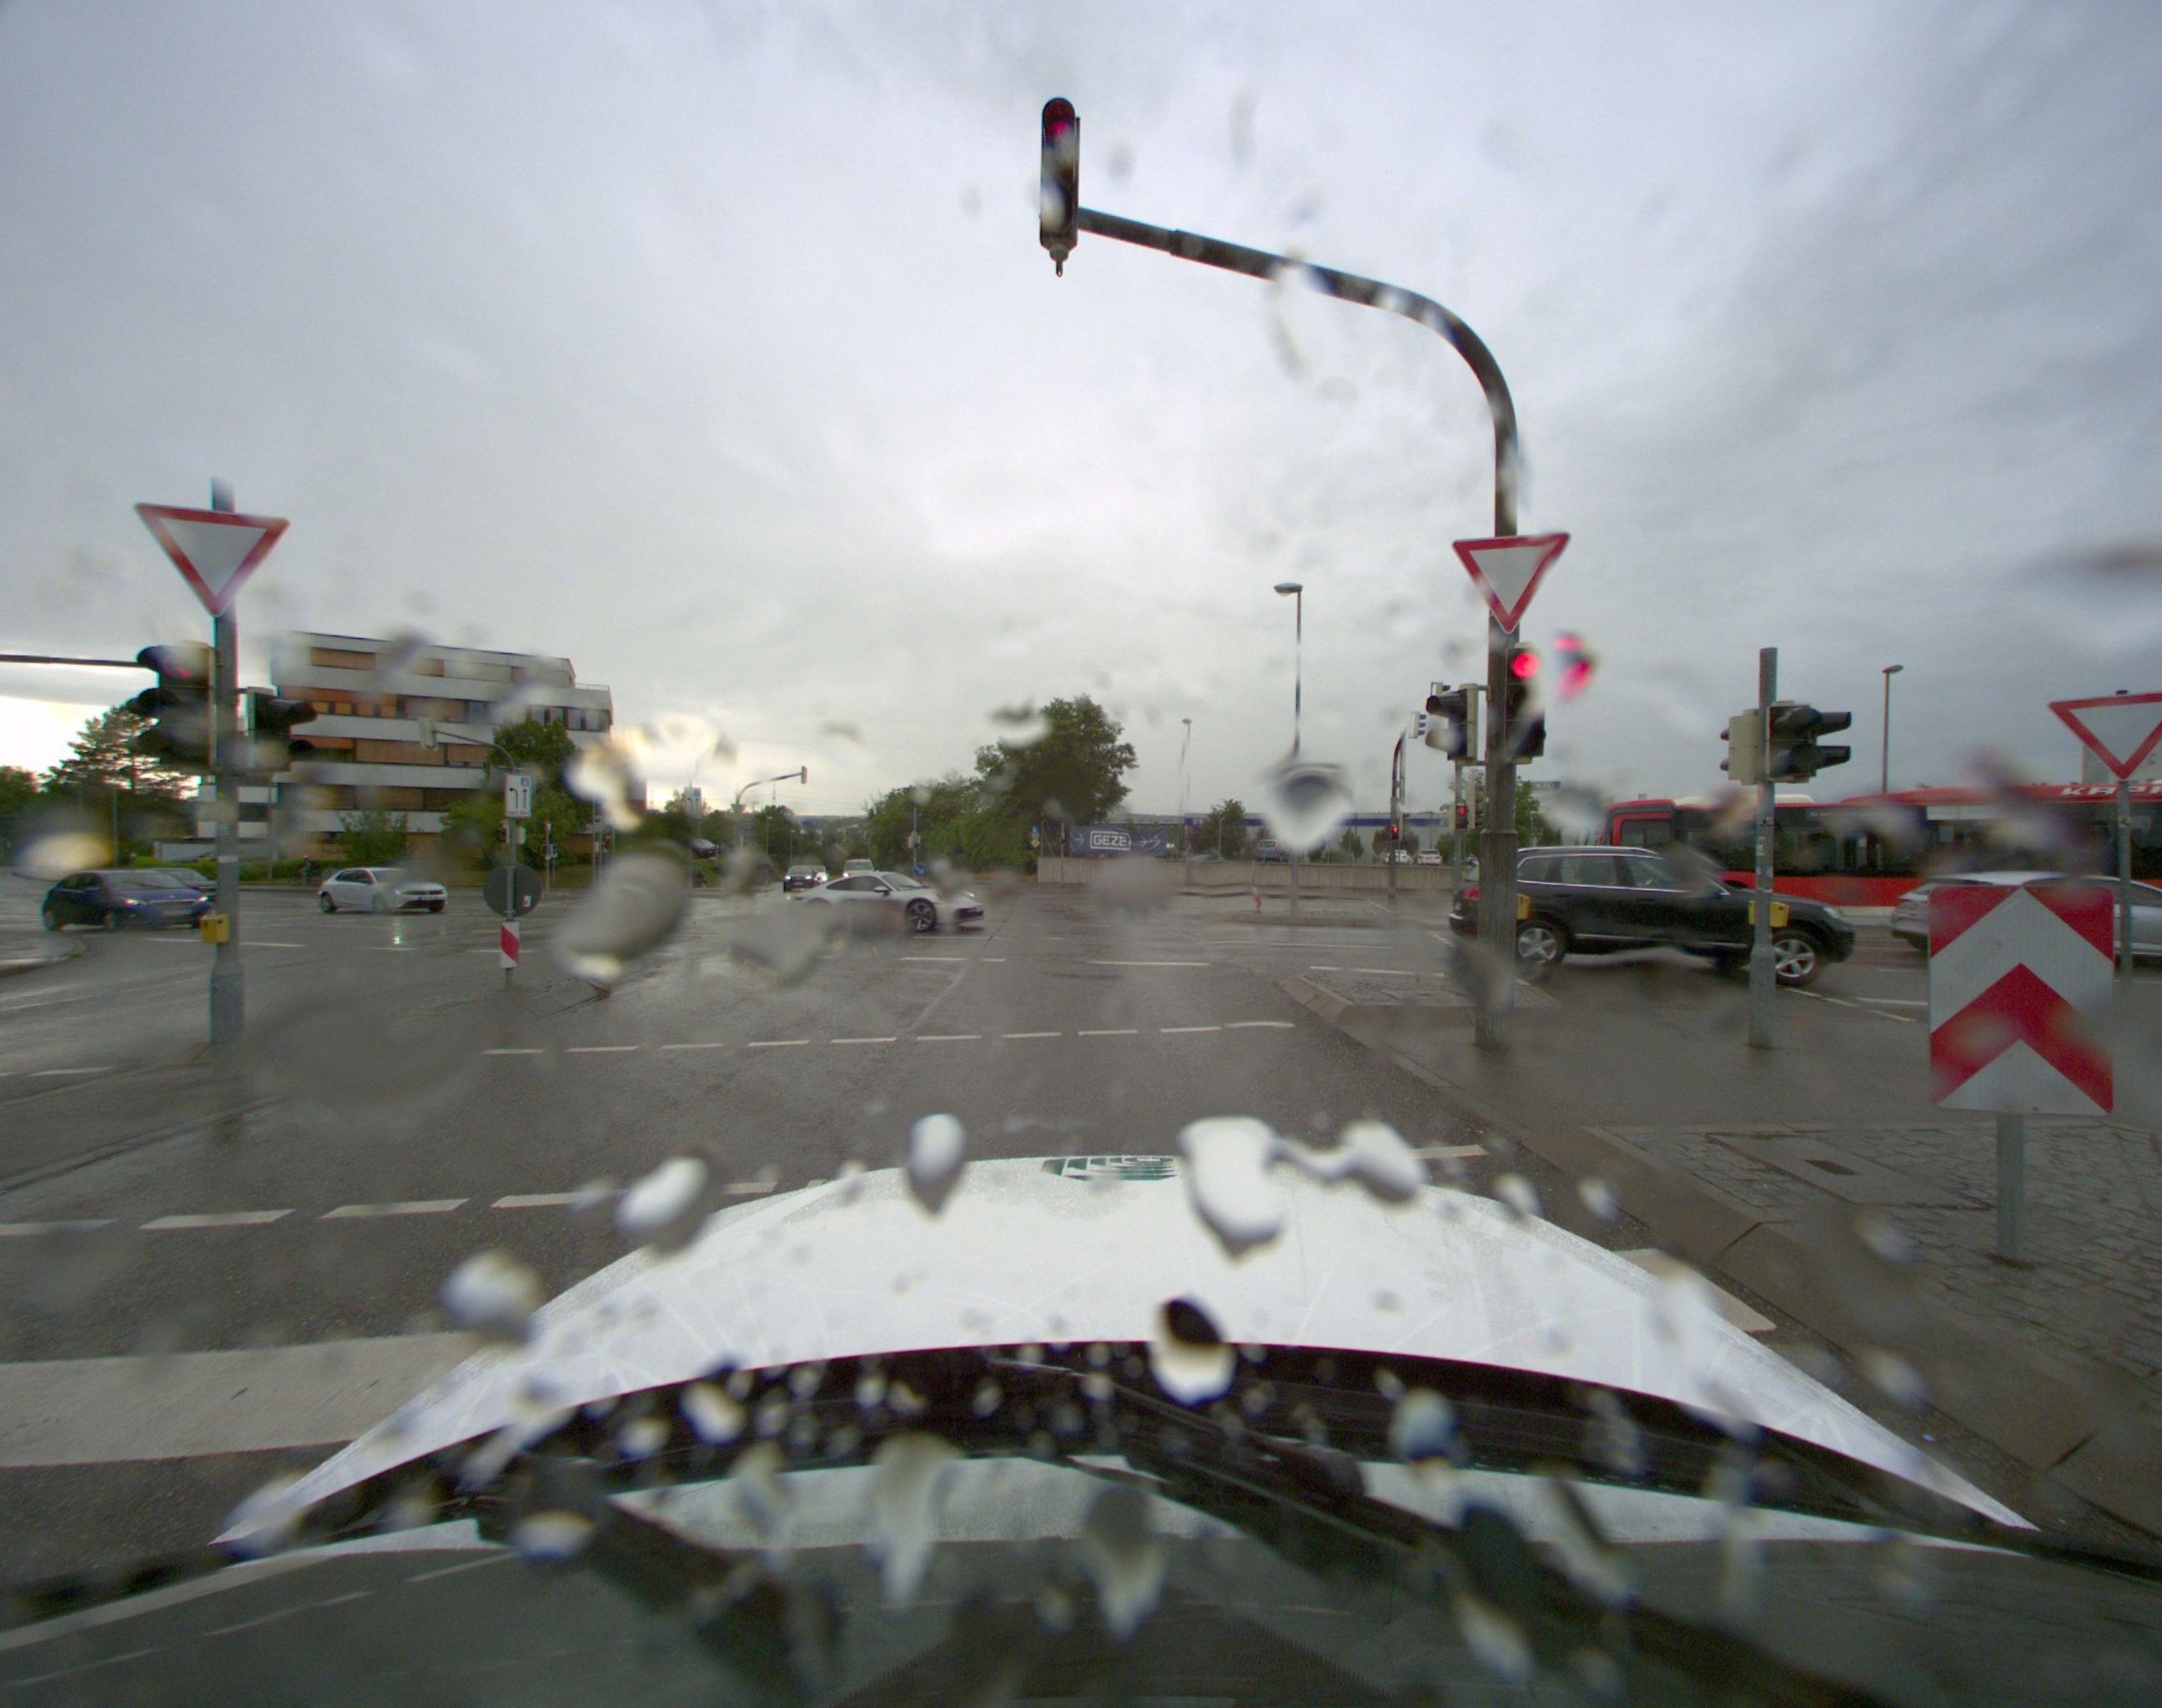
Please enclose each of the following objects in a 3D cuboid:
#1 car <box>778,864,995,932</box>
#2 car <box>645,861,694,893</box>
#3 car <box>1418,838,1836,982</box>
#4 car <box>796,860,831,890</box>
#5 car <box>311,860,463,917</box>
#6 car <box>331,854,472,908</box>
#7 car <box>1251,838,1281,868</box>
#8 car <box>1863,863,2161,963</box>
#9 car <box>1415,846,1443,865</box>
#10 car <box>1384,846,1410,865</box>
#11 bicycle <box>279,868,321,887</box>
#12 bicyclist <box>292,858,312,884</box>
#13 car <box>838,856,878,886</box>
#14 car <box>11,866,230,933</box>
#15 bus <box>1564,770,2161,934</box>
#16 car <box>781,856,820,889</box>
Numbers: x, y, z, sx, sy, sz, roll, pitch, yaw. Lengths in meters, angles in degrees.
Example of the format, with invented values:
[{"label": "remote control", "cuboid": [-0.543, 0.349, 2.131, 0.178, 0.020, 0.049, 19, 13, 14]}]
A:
[{"label": "car", "cuboid": [-4.359, 0.939, 18.493, 4.400, 1.358, 1.864, 0, 0, 14]}, {"label": "car", "cuboid": [-26.436, 1.423, 52.466, 1.997, 1.895, 3.979, 0, 0, -15]}, {"label": "car", "cuboid": [7.397, 0.680, 11.641, 4.561, 1.702, 2.009, 1, 1, 16]}, {"label": "car", "cuboid": [-18.316, 1.421, 55.946, 1.997, 1.895, 3.980, 0, 0, -15]}, {"label": "car", "cuboid": [-22.380, 1.062, 26.296, 3.954, 1.684, 2.010, 0, 0, 19]}, {"label": "car", "cuboid": [-24.746, 0.938, 29.704, 4.108, 1.840, 2.009, 0, 0, 17]}, {"label": "car", "cuboid": [13.093, -0.076, 57.546, 1.979, 2.013, 4.015, 0, 0, 13]}, {"label": "car", "cuboid": [15.698, 0.891, 13.082, 4.107, 1.416, 1.936, 0, 0, 16]}, {"label": "car", "cuboid": [28.685, 0.106, 67.169, 1.976, 1.478, 4.021, 0, 0, 21]}, {"label": "car", "cuboid": [26.379, 0.097, 67.848, 1.976, 1.478, 4.021, 0, 0, 22]}, {"label": "bicycle", "cuboid": [-44.813, 1.325, 46.720, 1.769, 1.052, 0.609, 0, 0, -2]}, {"label": "bicyclist", "cuboid": [-44.689, 0.959, 46.723, 0.542, 1.446, 0.603, -1, 0, -2]}, {"label": "car", "cuboid": [-13.126, 0.967, 48.134, 1.995, 1.618, 3.985, 0, 0, -11]}, {"label": "car", "cuboid": [-23.550, 1.065, 20.012, 3.959, 1.514, 1.852, 0, 0, 13]}, {"label": "bus", "cuboid": [18.723, -0.123, 19.256, 12.178, 3.321, 3.089, 1, 0, 19]}, {"label": "car", "cuboid": [-16.744, 1.059, 48.755, 1.998, 1.895, 3.978, 0, 0, -16]}]
